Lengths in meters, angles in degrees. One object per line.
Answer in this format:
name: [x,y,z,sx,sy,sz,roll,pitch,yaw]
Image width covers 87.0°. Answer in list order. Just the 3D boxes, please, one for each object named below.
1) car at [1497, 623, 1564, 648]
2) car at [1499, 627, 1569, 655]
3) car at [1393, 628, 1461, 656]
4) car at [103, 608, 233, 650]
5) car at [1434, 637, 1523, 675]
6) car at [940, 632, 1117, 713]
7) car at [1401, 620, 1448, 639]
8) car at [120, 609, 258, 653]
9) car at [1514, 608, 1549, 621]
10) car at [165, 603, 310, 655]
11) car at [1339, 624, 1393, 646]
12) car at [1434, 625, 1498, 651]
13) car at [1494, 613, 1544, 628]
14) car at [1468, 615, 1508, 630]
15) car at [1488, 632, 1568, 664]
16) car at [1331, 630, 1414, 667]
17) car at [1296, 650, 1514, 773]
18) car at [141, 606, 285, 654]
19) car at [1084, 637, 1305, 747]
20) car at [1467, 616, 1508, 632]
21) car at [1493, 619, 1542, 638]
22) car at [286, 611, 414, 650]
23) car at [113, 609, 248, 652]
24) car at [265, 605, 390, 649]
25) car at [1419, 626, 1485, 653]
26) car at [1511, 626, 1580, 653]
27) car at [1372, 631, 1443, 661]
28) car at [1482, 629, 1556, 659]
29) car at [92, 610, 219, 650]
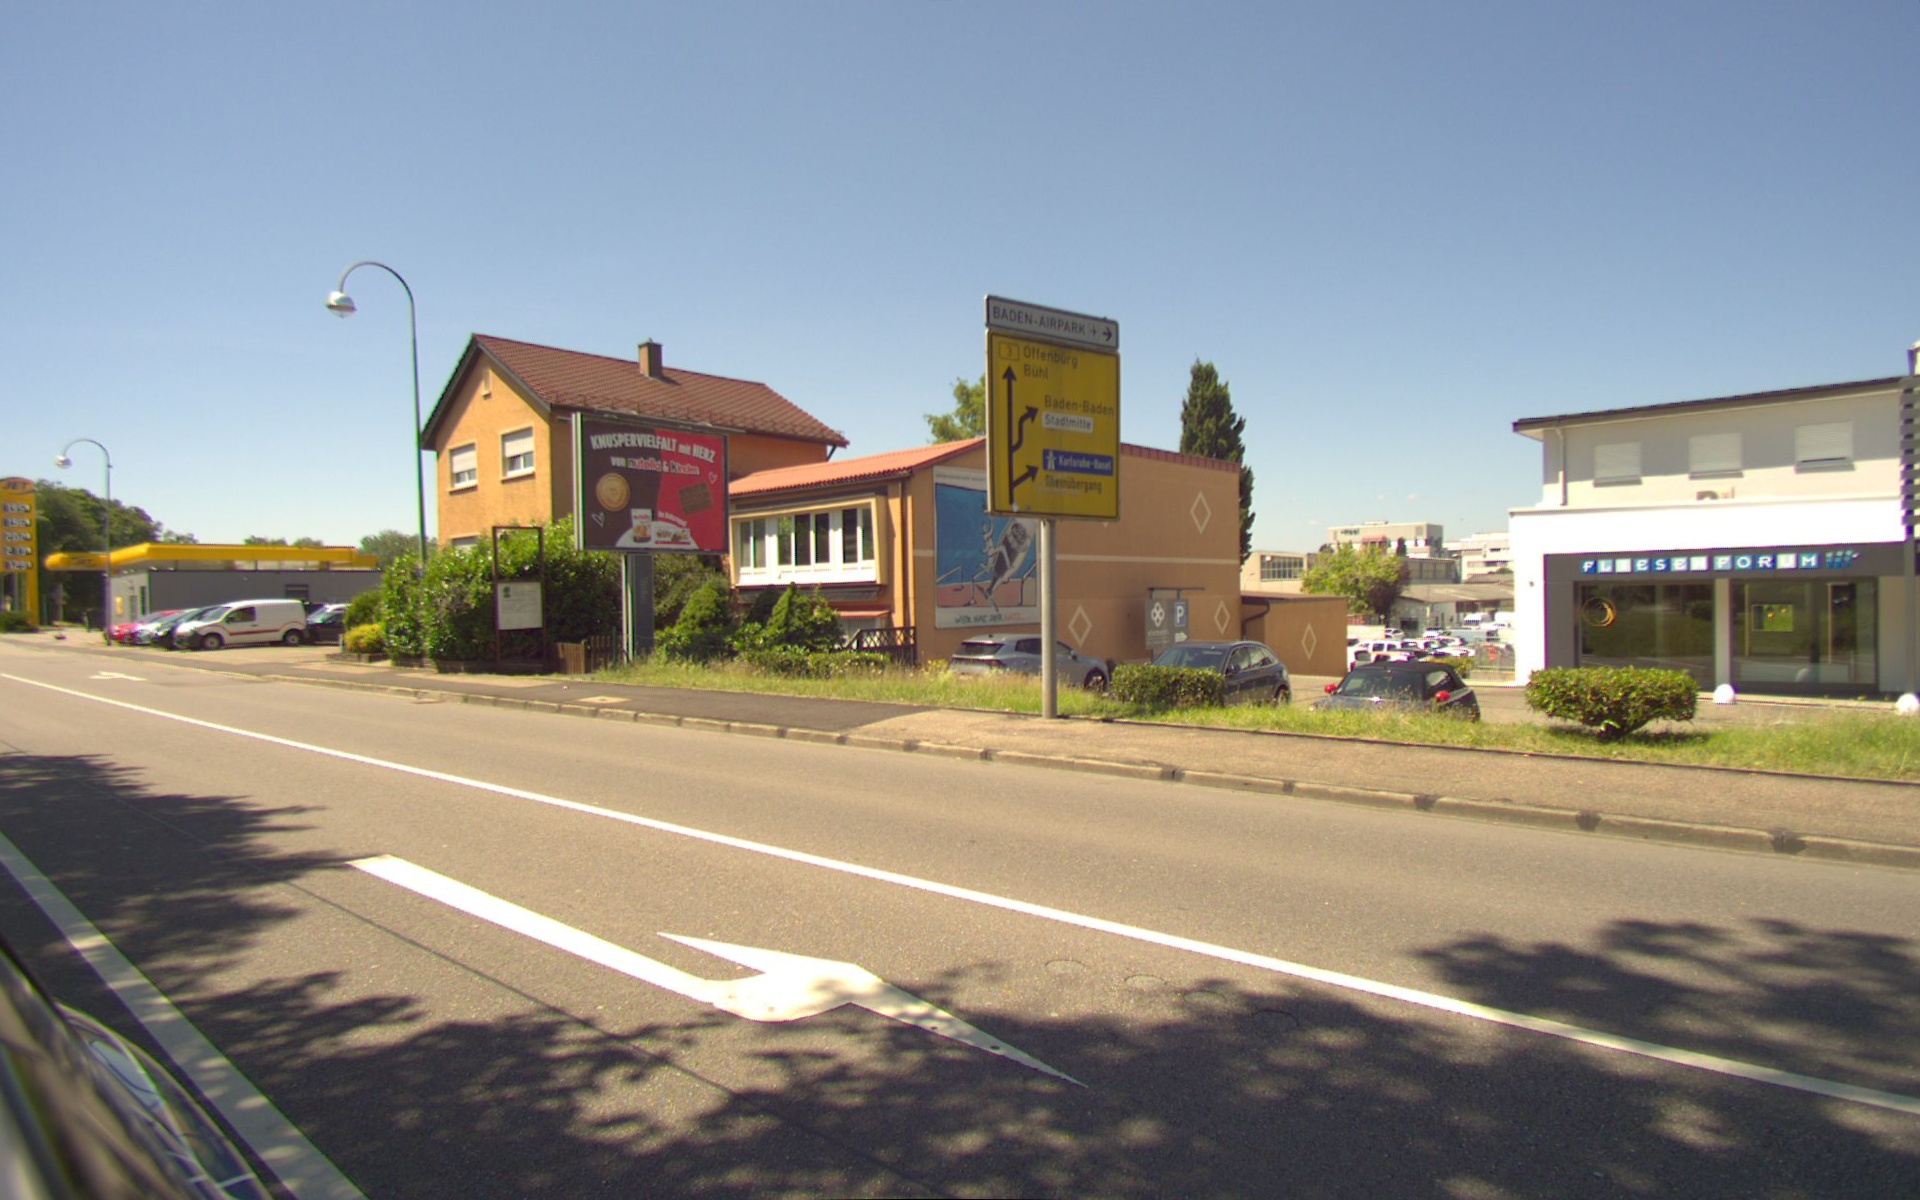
car: [42.560,2.634,75.589,4.055,1.768,1.707,-1,-1,44]
car: [38.121,2.696,67.267,3.774,1.768,1.707,-1,-1,44]
car: [31.106,2.793,67.434,3.774,1.768,1.707,-1,-1,44]
car: [-35.959,1.280,46.049,1.871,1.773,4.351,-1,-1,35]
car: [26.808,2.856,52.357,3.774,1.768,1.707,-1,-1,44]
car: [1.675,1.618,23.756,4.165,1.621,1.773,0,-1,-42]
car: [44.714,2.807,97.529,3.774,1.768,1.707,-1,1,44]
car: [-32.657,1.263,42.976,1.871,1.773,4.351,-1,-1,35]
car: [76.880,1.948,136.201,3.774,1.768,1.707,-1,-1,44]
car: [-27.557,1.057,38.718,1.871,1.883,4.143,-1,-1,35]
car: [33.949,2.936,84.683,3.774,1.768,1.707,-1,-1,44]
car: [36.491,2.721,73.020,3.774,1.768,1.707,-1,-1,44]
car: [71.629,2.617,129.692,5.303,1.768,2.037,-1,-1,44]
car: [61.523,2.609,117.887,3.774,1.768,1.707,-1,-1,44]
car: [33.166,2.768,59.161,3.774,1.768,1.707,-1,-1,44]
car: [23.945,2.763,58.796,4.001,2.029,1.971,-1,-1,44]
car: [7.183,1.656,16.152,4.039,1.544,1.772,0,-1,-44]
car: [-29.368,1.141,39.894,1.871,1.773,4.198,-1,-1,35]
car: [4.384,1.555,18.506,4.462,1.654,1.772,0,-1,-44]
car: [58.618,2.663,112.454,3.774,1.768,1.707,-1,-1,44]
car: [53.070,2.677,96.335,3.774,1.768,1.707,-1,-2,44]
car: [-26.155,1.272,43.528,1.871,1.575,4.351,-1,-1,35]
car: [-34.237,1.286,44.561,1.871,1.773,4.351,-1,-1,35]
car: [-27.944,1.164,44.836,1.871,1.839,4.351,-1,-1,35]
car: [34.399,2.746,70.815,3.774,1.768,1.707,-1,-1,44]
car: [40.100,2.672,69.328,3.774,1.768,1.707,-1,-1,44]
car: [28.298,2.904,64.048,3.774,1.768,1.707,-1,-1,44]
car: [35.232,2.743,63.829,3.774,1.768,1.707,-1,-1,44]
car: [-37.828,1.359,47.659,1.871,1.773,4.351,-1,-1,35]
